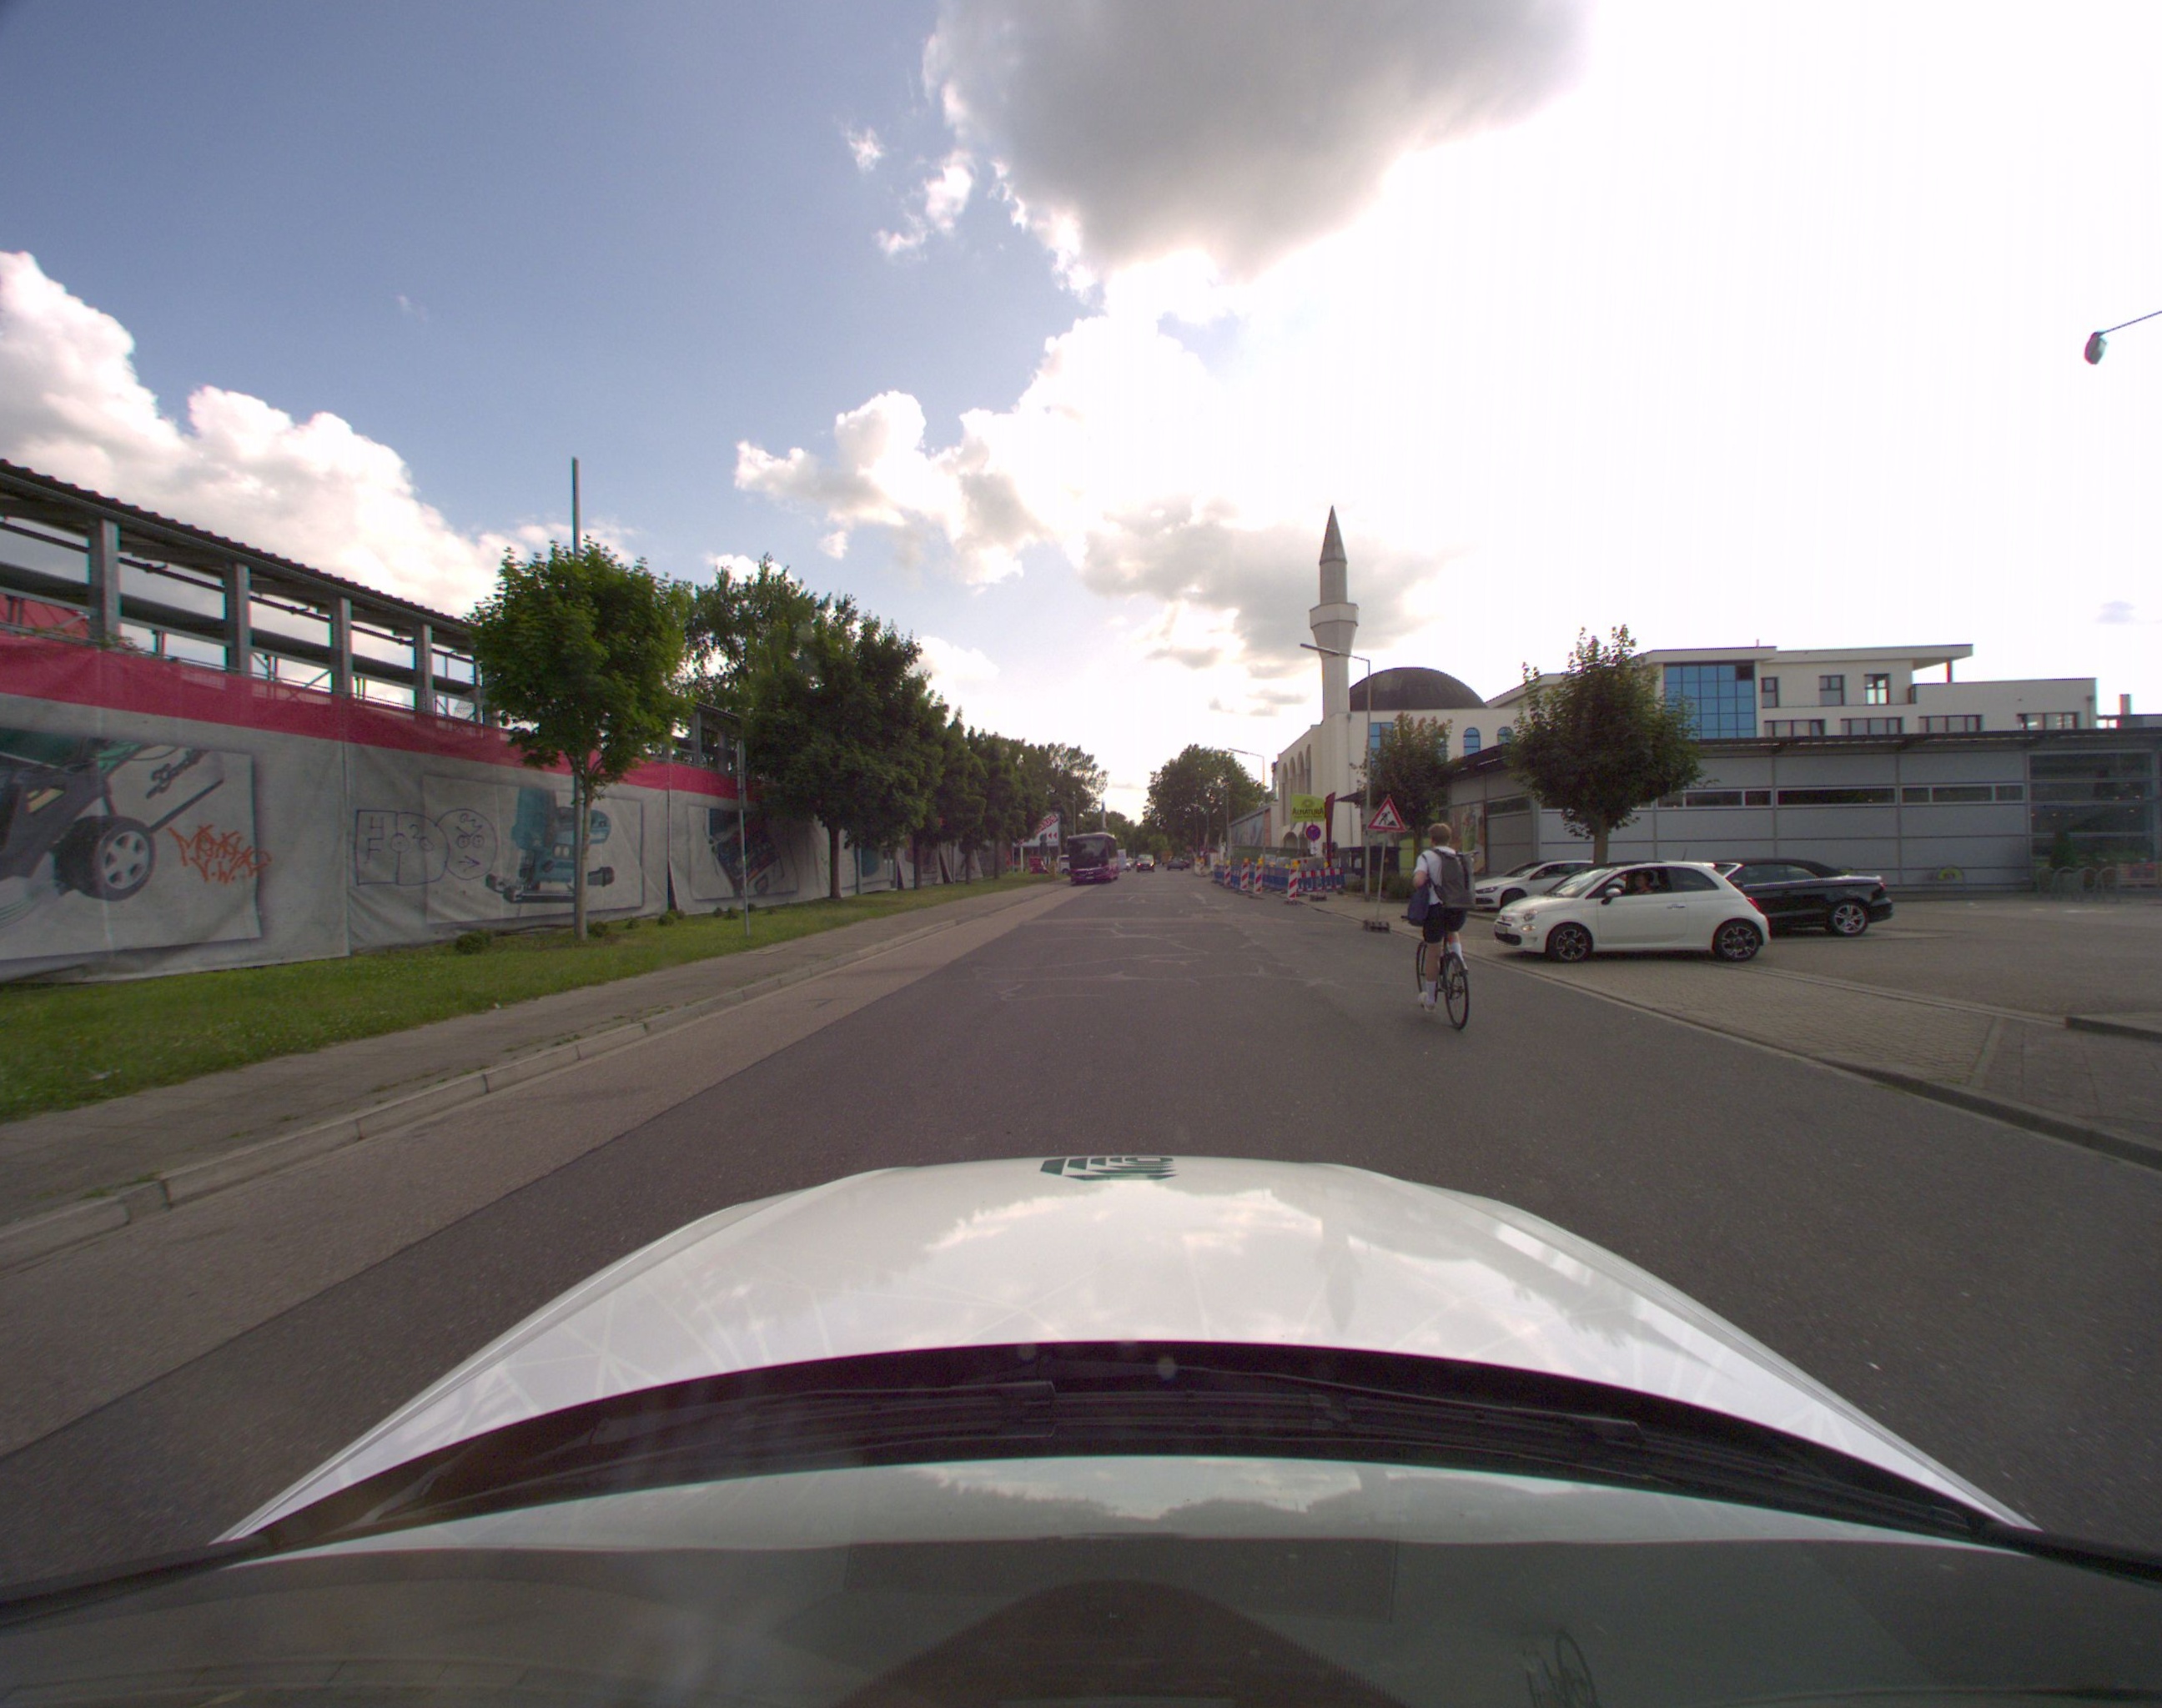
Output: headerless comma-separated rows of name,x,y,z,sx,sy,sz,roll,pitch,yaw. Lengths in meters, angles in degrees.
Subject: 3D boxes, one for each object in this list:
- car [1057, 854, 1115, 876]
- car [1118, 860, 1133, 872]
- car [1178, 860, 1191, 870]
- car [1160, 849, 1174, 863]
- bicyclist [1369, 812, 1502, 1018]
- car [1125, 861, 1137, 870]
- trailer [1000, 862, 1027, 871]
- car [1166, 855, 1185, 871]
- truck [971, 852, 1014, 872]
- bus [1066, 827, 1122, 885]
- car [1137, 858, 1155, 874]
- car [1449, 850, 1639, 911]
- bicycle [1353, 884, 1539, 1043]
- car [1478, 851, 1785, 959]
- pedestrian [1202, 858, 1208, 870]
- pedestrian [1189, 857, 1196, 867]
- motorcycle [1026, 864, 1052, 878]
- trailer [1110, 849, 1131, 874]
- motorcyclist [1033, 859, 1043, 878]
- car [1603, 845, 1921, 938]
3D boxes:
car,0.478,0.978,73.766,4.969,1.949,1.998,-1,-1,10
car,5.894,1.624,107.901,1.757,1.479,4.240,-3,-1,4
car,15.519,1.599,122.003,1.798,1.391,4.596,2,0,7
car,16.450,0.308,156.075,2.191,2.578,6.406,-1,0,1
bicyclist,3.327,0.537,7.758,0.803,1.792,1.208,1,-1,4
car,8.145,1.831,132.682,1.700,1.420,4.339,-4,-1,7
trailer,-10.401,1.936,126.364,3.792,1.191,1.720,-1,0,11
car,11.426,1.101,98.547,1.953,1.815,4.279,-1,0,4
truck,-11.907,1.108,109.734,5.520,2.594,1.782,-1,-2,5
bus,1.143,0.148,57.396,2.650,3.423,13.237,-4,-1,5
car,7.045,1.246,88.054,1.860,1.630,4.132,-1,0,4
car,12.700,0.718,22.537,4.087,1.463,1.991,-2,-1,2
bicycle,3.336,0.914,7.783,0.794,1.180,2.630,1,-1,5
car,8.413,0.766,12.762,3.579,1.470,1.693,-2,-1,9
pedestrian,16.008,1.355,105.058,0.678,1.534,1.132,-1,-1,5
pedestrian,20.362,1.421,148.608,1.001,1.849,1.224,0,-1,-12
motorcycle,-3.810,1.563,74.495,2.210,1.214,0.996,-1,-1,5
trailer,4.744,0.854,97.215,2.129,2.783,4.709,-3,-1,5
motorcyclist,-3.930,1.309,74.514,0.670,1.723,0.996,-1,-1,6
car,12.112,0.652,14.702,4.164,1.430,1.807,-2,-1,2
